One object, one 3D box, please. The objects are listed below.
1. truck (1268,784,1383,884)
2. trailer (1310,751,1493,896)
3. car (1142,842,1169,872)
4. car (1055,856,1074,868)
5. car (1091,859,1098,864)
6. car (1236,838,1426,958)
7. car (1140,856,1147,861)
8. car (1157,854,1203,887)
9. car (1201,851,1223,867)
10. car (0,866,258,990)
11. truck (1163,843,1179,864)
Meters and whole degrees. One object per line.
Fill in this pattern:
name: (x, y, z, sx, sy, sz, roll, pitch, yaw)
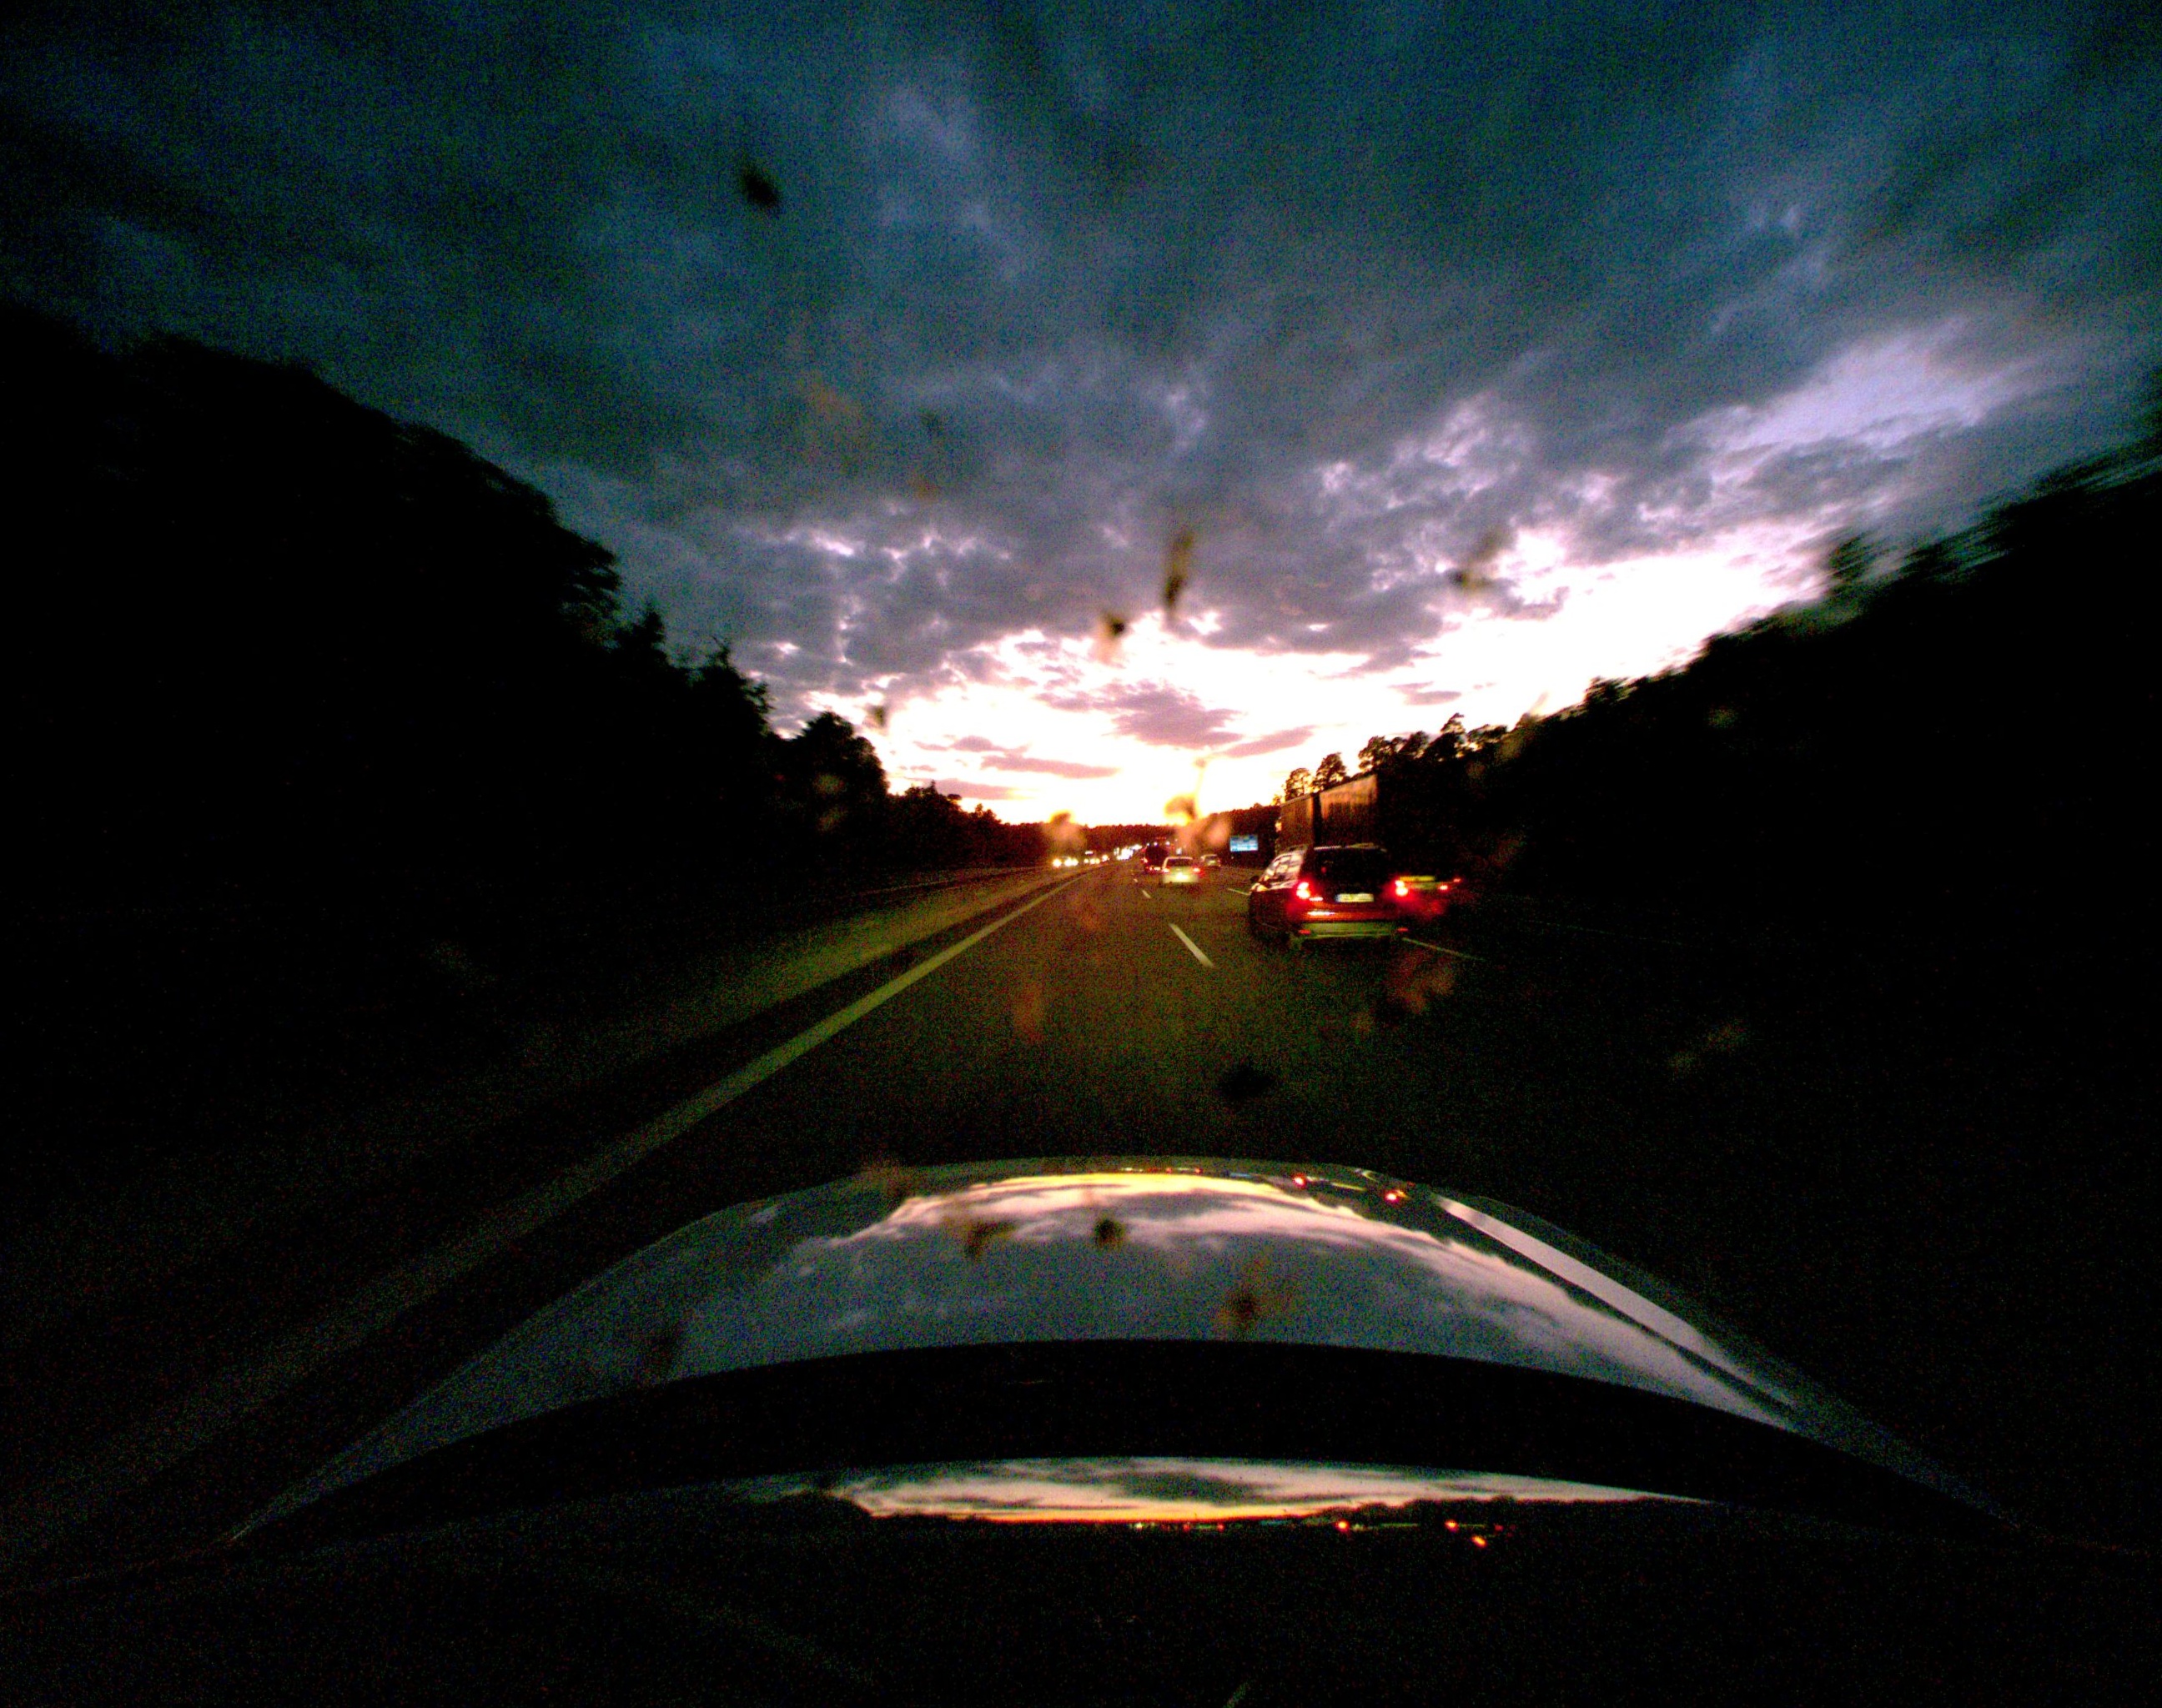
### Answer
truck: (11.374, -0.777, 39.212, 2.872, 4.100, 10.842, -1, -1, 4)
trailer: (10.676, -0.839, 28.607, 2.894, 4.100, 10.367, -1, -1, 4)
car: (6.593, 0.265, 71.748, 2.154, 2.419, 5.574, -2, -1, 7)
car: (-2.168, 1.063, 110.729, 1.984, 1.638, 5.119, -1, 0, 5)
car: (3.896, 2.051, 235.797, 1.768, 1.401, 4.944, -1, 0, 4)
car: (4.005, 0.607, 14.028, 1.895, 1.643, 5.055, -2, 0, 2)
car: (17.416, 1.257, 226.169, 1.827, 1.570, 4.008, -2, -1, 7)
car: (4.603, 0.736, 38.415, 1.852, 1.442, 3.723, -1, 0, 3)
car: (13.476, 0.554, 83.810, 1.997, 1.538, 4.008, -2, -1, 7)
car: (-14.270, 0.943, 10.718, 1.834, 1.463, 4.781, 0, 1, 4)
truck: (26.460, -0.201, 240.488, 4.129, 5.856, 14.316, -2, -1, 5)
